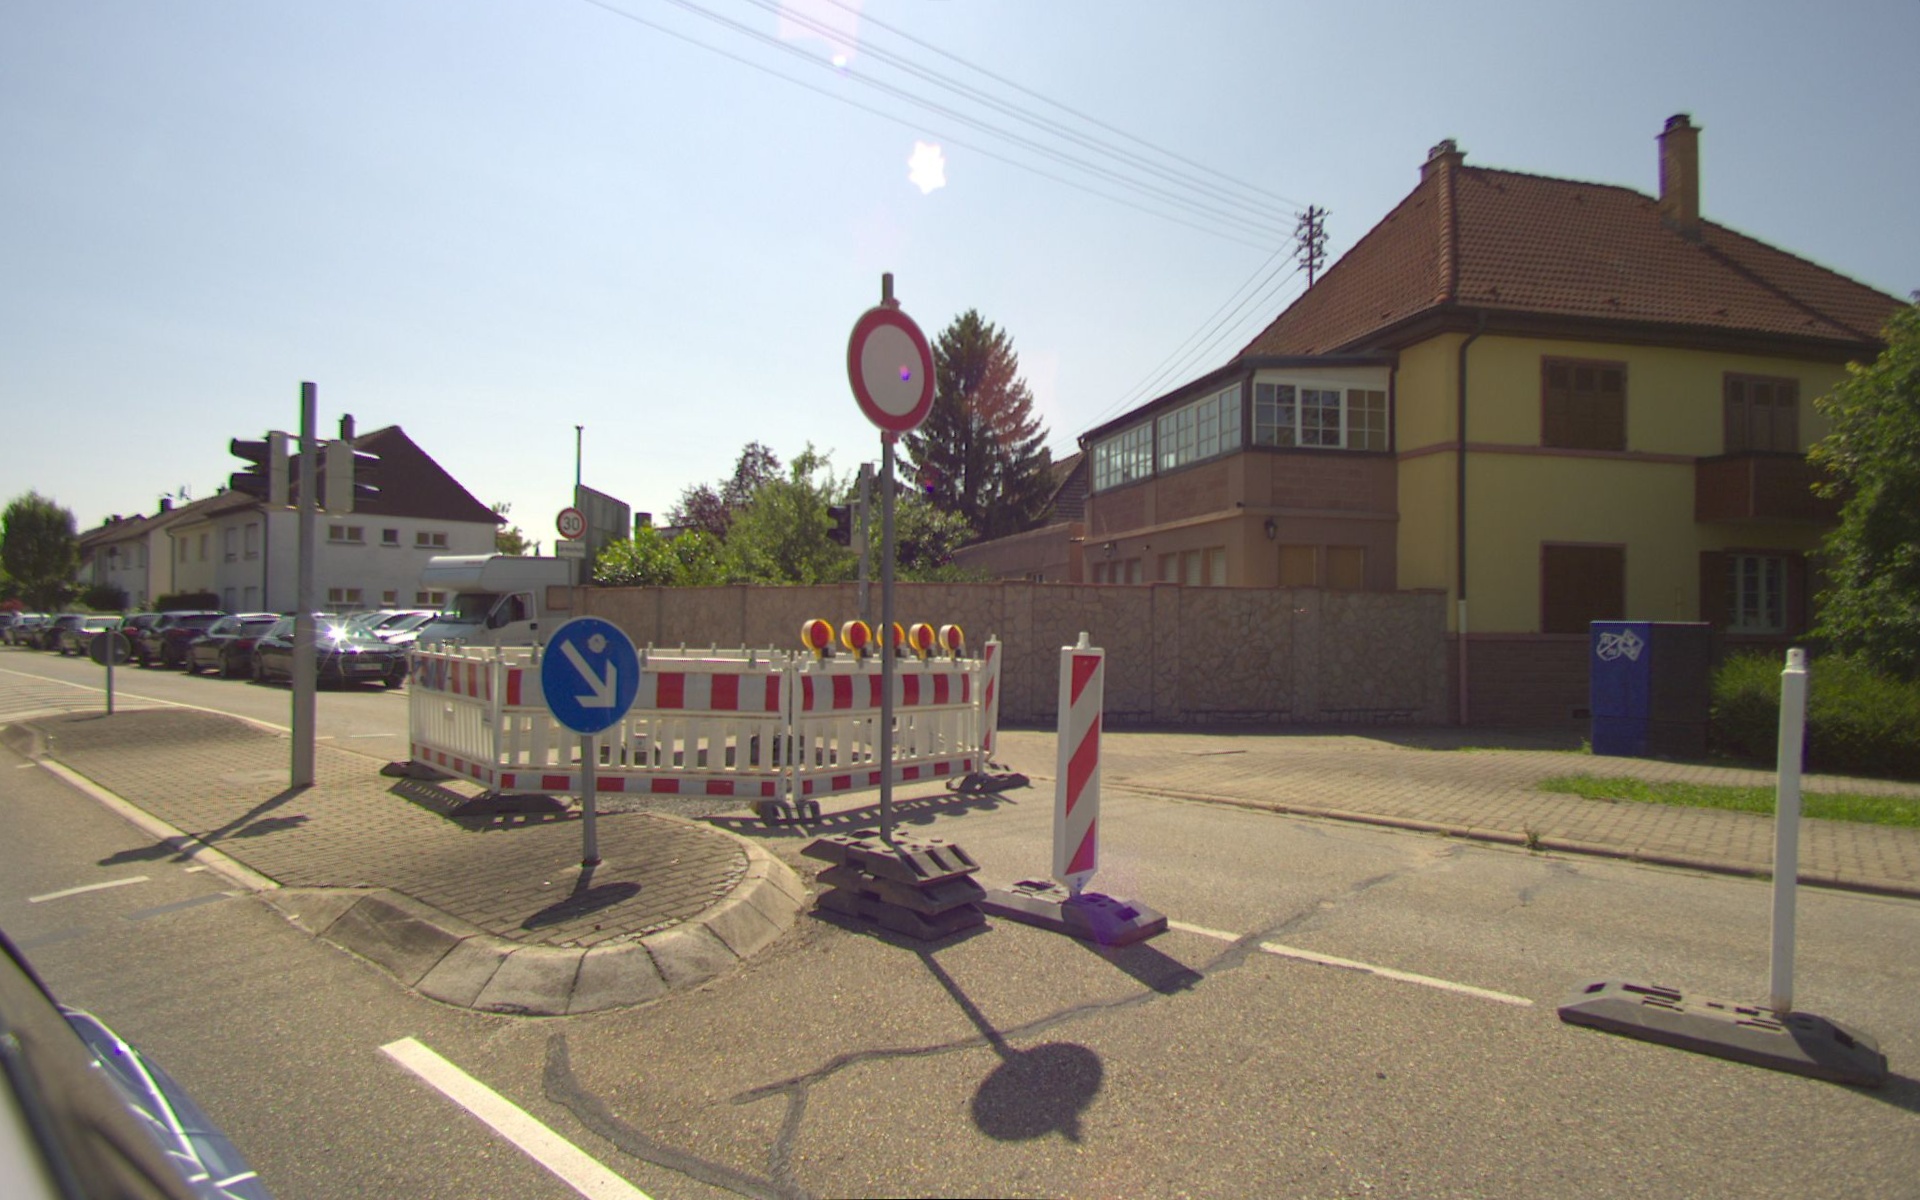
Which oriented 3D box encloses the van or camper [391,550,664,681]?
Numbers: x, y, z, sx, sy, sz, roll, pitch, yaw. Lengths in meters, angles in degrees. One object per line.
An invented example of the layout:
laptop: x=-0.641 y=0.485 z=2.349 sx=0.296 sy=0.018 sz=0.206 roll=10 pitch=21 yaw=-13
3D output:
van or camper: x=-10.620 y=0.406 z=25.513 sx=2.282 sy=2.866 sz=6.197 roll=-1 pitch=-1 yaw=30

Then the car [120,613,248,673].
car: x=-22.201 y=1.210 z=28.902 sx=4.222 sy=1.603 sz=1.840 roll=-1 pitch=-3 yaw=38

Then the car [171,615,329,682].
car: x=-17.685 y=1.172 z=25.134 sx=4.502 sy=1.511 sz=1.929 roll=-1 pitch=-3 yaw=38

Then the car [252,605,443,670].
car: x=-19.064 y=1.136 z=31.734 sx=1.995 sy=1.878 sz=4.723 roll=-1 pitch=-2 yaw=34

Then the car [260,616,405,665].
car: x=-21.985 y=1.380 z=35.606 sx=1.763 sy=1.628 sz=3.955 roll=-1 pitch=-2 yaw=33

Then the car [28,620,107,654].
car: x=-37.234 y=1.551 z=42.206 sx=3.911 sy=1.328 sz=1.718 roll=-1 pitch=-3 yaw=38

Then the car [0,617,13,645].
car: x=-54.088 y=1.712 z=56.127 sx=3.911 sy=1.525 sz=1.718 roll=-1 pitch=-2 yaw=38

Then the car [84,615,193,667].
car: x=-26.216 y=1.284 z=32.273 sx=4.173 sy=1.559 sz=1.839 roll=-1 pitch=-3 yaw=39

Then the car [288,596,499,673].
car: x=-16.908 y=1.001 z=30.496 sx=2.205 sy=2.103 sz=5.123 roll=-1 pitch=-1 yaw=32

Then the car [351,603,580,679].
car: x=-12.782 y=1.019 z=26.542 sx=2.124 sy=1.782 sz=5.062 roll=-1 pitch=-1 yaw=30

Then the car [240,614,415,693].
car: x=-13.572 y=1.101 z=21.614 sx=4.507 sy=1.511 sz=1.927 roll=-1 pitch=-3 yaw=42

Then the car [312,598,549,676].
car: x=-14.916 y=1.008 z=28.910 sx=2.125 sy=2.017 sz=5.719 roll=-1 pitch=-1 yaw=32

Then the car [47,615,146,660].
car: x=-31.752 y=1.351 z=37.182 sx=4.539 sy=1.559 sz=1.840 roll=-1 pitch=-3 yaw=38
